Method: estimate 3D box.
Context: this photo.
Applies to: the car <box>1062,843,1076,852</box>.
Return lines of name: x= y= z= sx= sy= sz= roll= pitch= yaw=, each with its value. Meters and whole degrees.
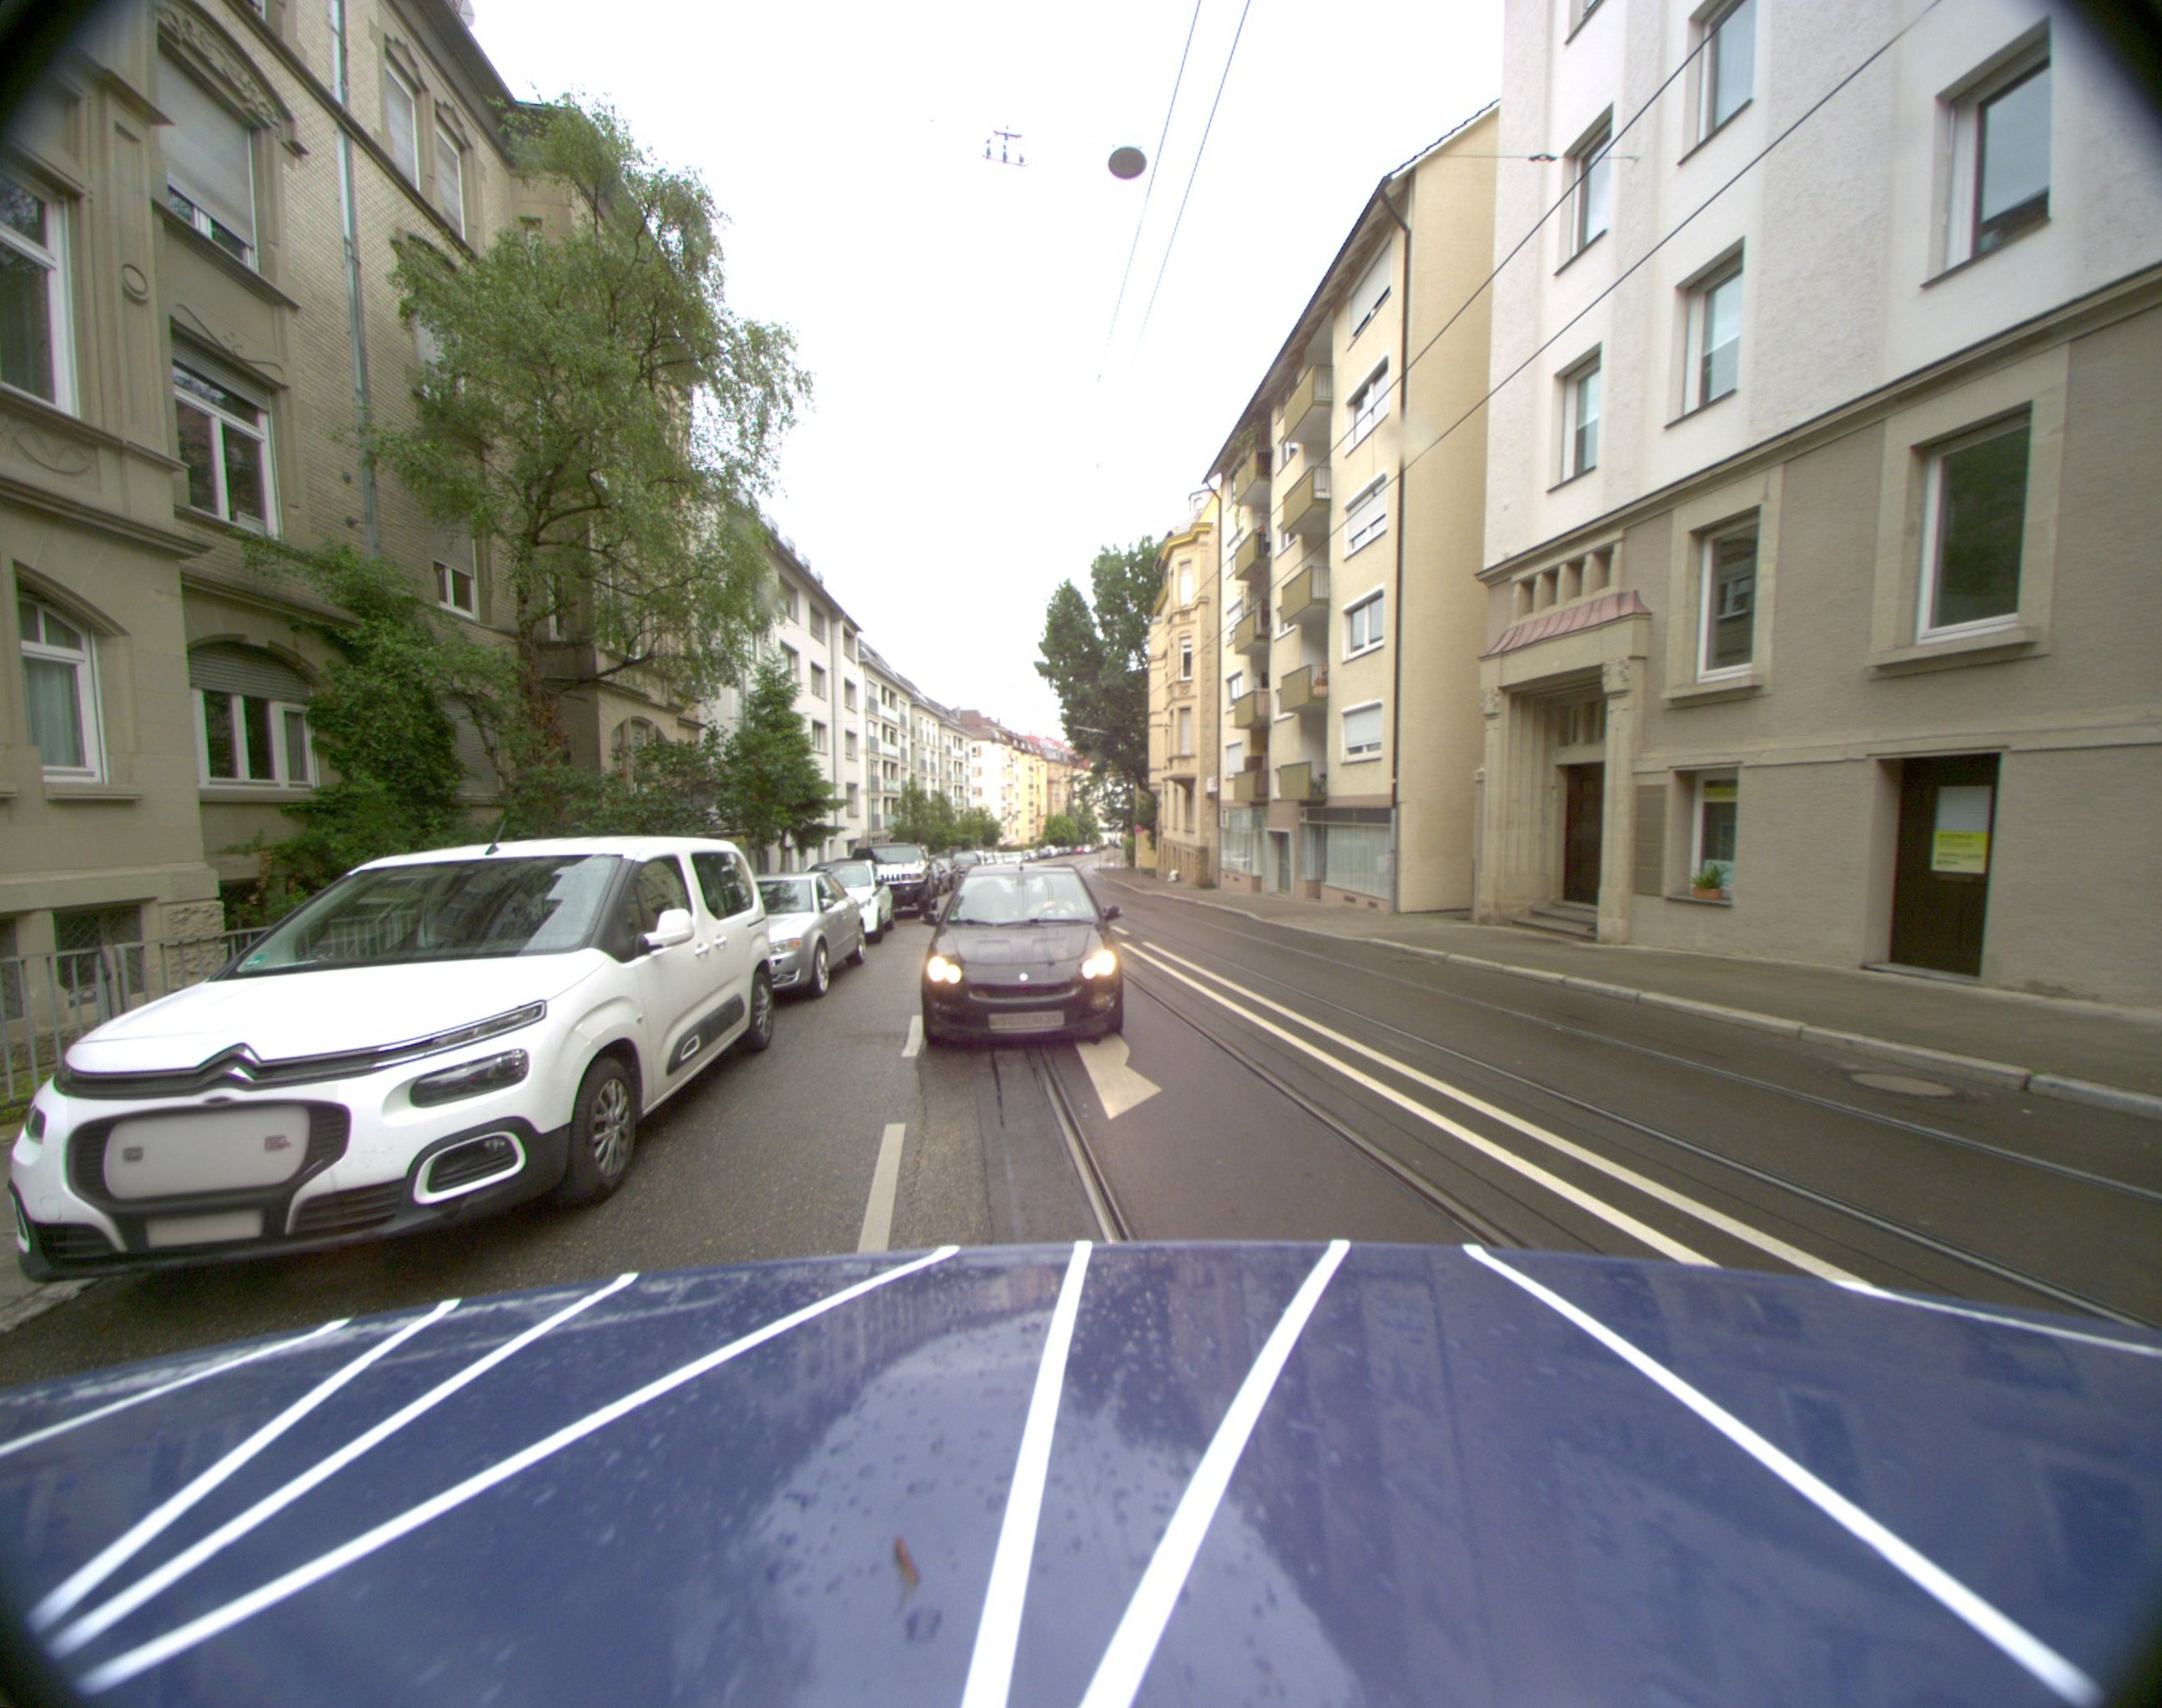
car: x=-1.942 y=-1.028 z=123.879 sx=1.658 sy=1.360 sz=3.637 roll=-2 pitch=2 yaw=8

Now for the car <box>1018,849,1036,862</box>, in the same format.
car: x=-6.317 y=0.161 z=89.053 sx=1.600 sy=1.416 sz=3.515 roll=-1 pitch=1 yaw=4

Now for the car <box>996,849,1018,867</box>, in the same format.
car: x=-7.022 y=0.389 z=71.921 sx=1.981 sy=1.576 sz=4.563 roll=-1 pitch=1 yaw=-5

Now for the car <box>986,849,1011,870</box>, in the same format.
car: x=-7.196 y=0.452 z=66.360 sx=1.837 sy=1.618 sz=4.662 roll=-1 pitch=1 yaw=-2

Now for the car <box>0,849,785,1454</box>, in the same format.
car: x=-3.280 y=0.893 z=4.514 sx=1.803 sy=1.755 sz=4.459 roll=-3 pitch=1 yaw=-9

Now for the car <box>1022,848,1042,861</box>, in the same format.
car: x=-5.951 y=0.043 z=93.449 sx=1.721 sy=1.459 sz=4.391 roll=-1 pitch=1 yaw=6

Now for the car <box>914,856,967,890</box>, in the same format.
car: x=-6.535 y=0.834 z=35.828 sx=1.799 sy=1.429 sz=4.609 roll=-2 pitch=1 yaw=-3

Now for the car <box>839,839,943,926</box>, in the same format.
car: x=-5.065 y=0.669 z=21.029 sx=2.135 sy=2.002 sz=5.346 roll=-3 pitch=1 yaw=-8

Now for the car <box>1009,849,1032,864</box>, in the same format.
car: x=-6.467 y=0.231 z=81.552 sx=1.862 sy=1.507 sz=4.789 roll=-1 pitch=1 yaw=2

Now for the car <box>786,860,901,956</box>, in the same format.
car: x=-4.566 y=0.952 z=15.059 sx=1.565 sy=1.537 sz=3.581 roll=-3 pitch=1 yaw=-9

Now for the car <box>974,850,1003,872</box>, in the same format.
car: x=-7.380 y=0.507 z=60.834 sx=1.837 sy=1.647 sz=4.685 roll=-1 pitch=1 yaw=-1

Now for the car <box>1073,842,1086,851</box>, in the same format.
car: x=-0.241 y=-1.276 z=131.104 sx=1.556 sy=1.360 sz=3.126 roll=-1 pitch=2 yaw=13

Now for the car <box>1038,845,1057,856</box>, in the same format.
car: x=-4.560 y=-0.491 z=104.531 sx=1.797 sy=1.444 sz=4.104 roll=-2 pitch=2 yaw=9

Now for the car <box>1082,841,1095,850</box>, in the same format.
car: x=1.402 y=-1.585 z=139.718 sx=1.612 sy=1.434 sz=3.690 roll=-1 pitch=2 yaw=13

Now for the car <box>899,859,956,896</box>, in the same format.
car: x=-6.215 y=0.909 z=31.102 sx=1.683 sy=1.330 sz=3.881 roll=-2 pitch=1 yaw=-3

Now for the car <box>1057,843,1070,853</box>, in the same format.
car: x=-2.681 y=-0.907 z=118.739 sx=1.590 sy=1.434 sz=3.477 roll=-2 pitch=2 yaw=6

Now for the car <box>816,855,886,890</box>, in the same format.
car: x=-10.666 y=0.834 z=35.542 sx=1.817 sy=1.418 sz=4.153 roll=-3 pitch=1 yaw=2

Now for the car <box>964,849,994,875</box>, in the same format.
car: x=-7.329 y=0.524 z=54.964 sx=1.783 sy=1.785 sz=4.469 roll=-1 pitch=1 yaw=-3

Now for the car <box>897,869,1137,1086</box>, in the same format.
car: x=-0.693 y=0.934 z=7.578 sx=1.740 sy=1.445 sz=3.997 roll=-1 pitch=0 yaw=-7

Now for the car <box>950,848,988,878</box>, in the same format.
car: x=-7.164 y=0.521 z=49.109 sx=1.948 sy=1.785 sz=4.818 roll=-2 pitch=1 yaw=-4

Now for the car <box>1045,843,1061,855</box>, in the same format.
car: x=-3.995 y=-0.721 z=109.693 sx=1.798 sy=1.613 sz=3.868 roll=-2 pitch=2 yaw=6

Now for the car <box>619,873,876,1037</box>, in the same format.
car: x=-3.923 y=1.061 z=9.841 sx=1.754 sy=1.392 sz=4.475 roll=-3 pitch=1 yaw=-7
